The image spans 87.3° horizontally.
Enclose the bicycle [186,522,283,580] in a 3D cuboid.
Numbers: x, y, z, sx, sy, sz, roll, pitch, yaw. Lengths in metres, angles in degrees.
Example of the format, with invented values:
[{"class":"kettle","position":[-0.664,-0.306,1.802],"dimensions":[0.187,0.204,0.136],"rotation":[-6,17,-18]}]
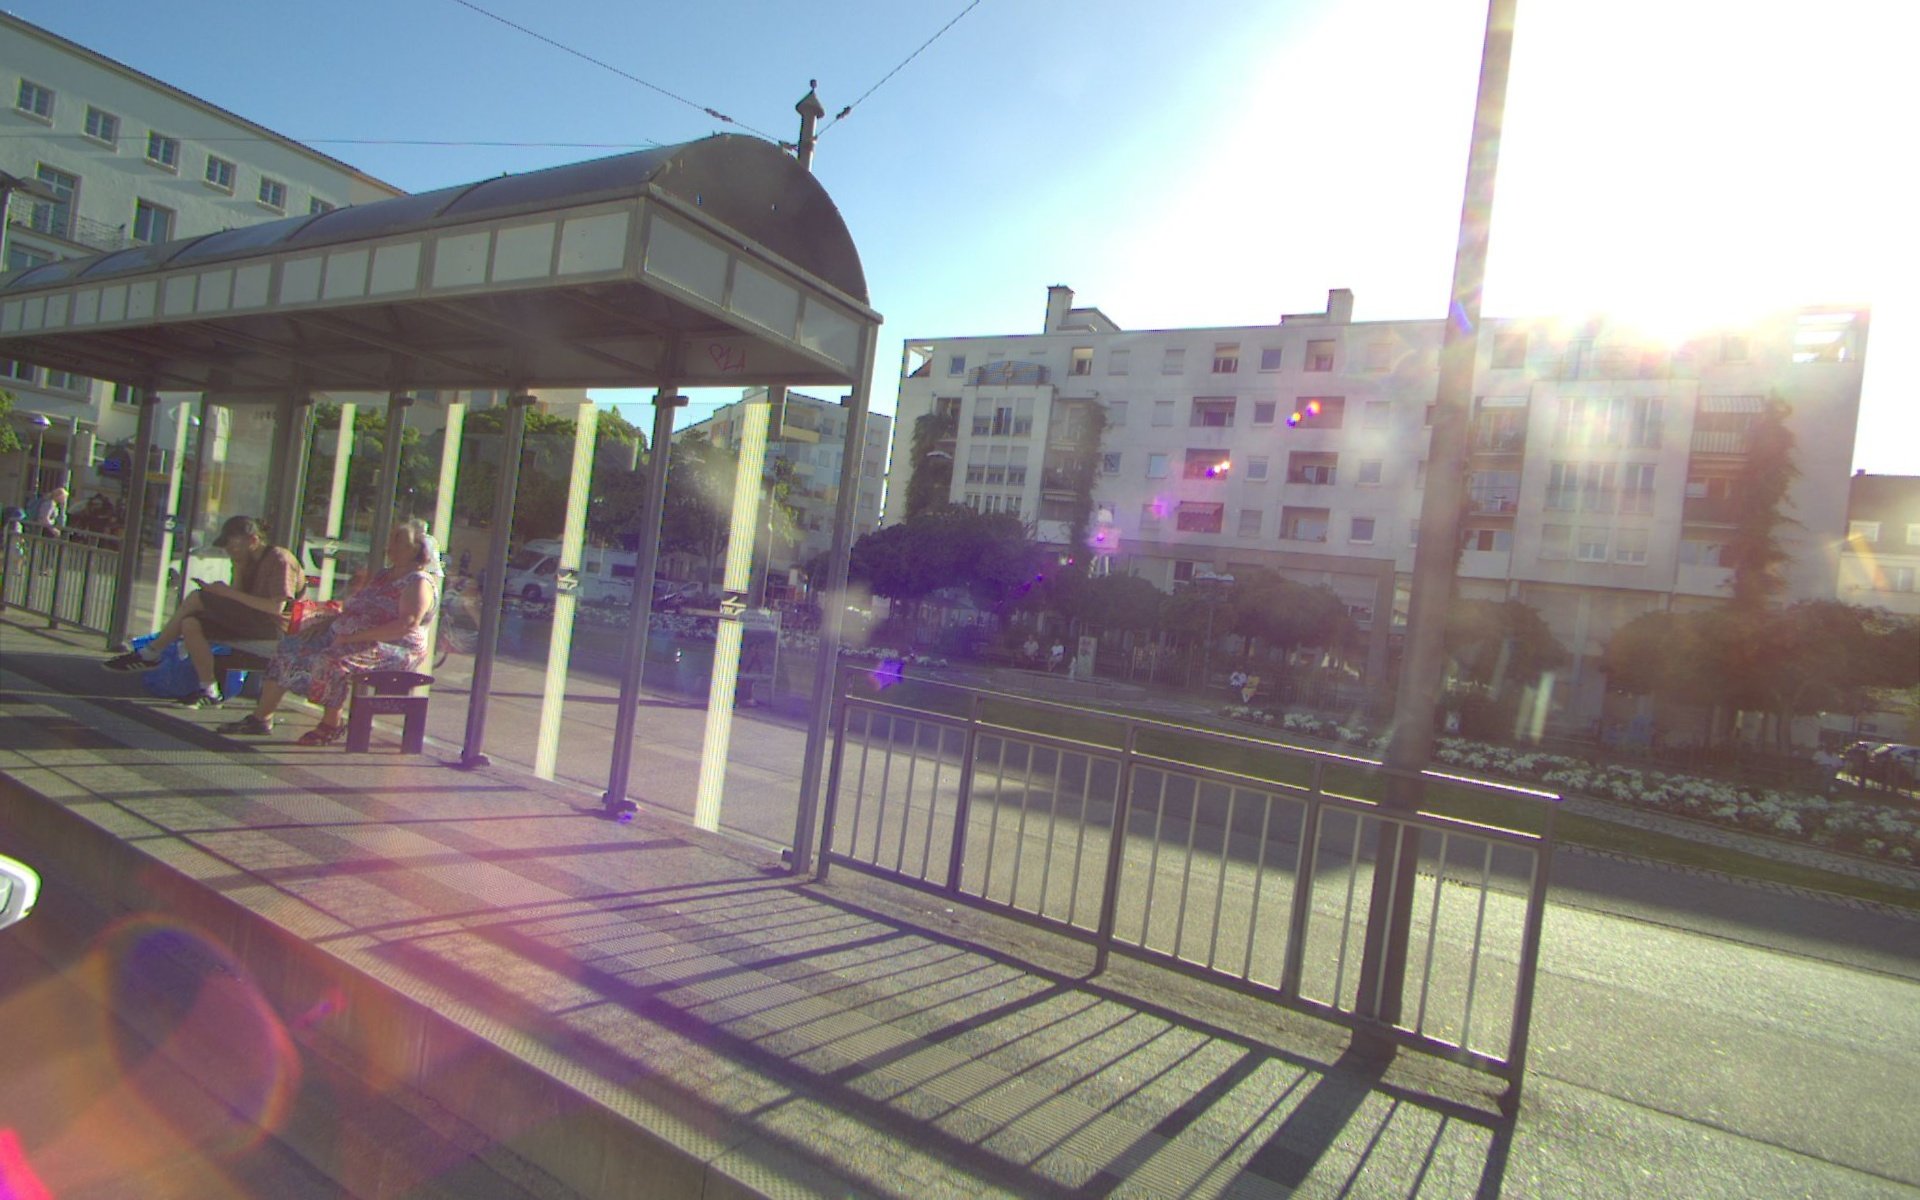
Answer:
[{"class":"bicycle","position":[-24.383,-1.629,33.873],"dimensions":[0.714,1.548,2.391],"rotation":[7,-3,31]}]

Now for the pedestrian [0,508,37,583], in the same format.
[{"class":"pedestrian","position":[-16.783,-0.966,17.763],"dimensions":[0.520,1.239,0.557],"rotation":[6,-2,42]}]

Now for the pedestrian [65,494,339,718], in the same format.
[{"class":"pedestrian","position":[-4.866,0.055,6.494],"dimensions":[0.908,1.238,1.001],"rotation":[6,-4,32]}]

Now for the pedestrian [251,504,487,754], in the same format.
[{"class":"pedestrian","position":[-3.519,0.196,6.038],"dimensions":[0.613,1.348,0.861],"rotation":[6,-4,32]}]

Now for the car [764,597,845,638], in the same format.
[{"class":"car","position":[-7.444,0.867,48.529],"dimensions":[1.964,1.503,4.000],"rotation":[7,-1,23]}]

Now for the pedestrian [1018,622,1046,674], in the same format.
[{"class":"pedestrian","position":[2.553,1.692,35.499],"dimensions":[0.661,1.745,1.028],"rotation":[7,0,11]}]

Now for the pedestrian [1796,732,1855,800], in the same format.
[{"class":"pedestrian","position":[20.888,3.979,24.274],"dimensions":[0.923,1.428,1.521],"rotation":[7,-1,42]}]

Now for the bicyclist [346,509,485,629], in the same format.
[{"class":"bicyclist","position":[-6.532,-0.354,12.114],"dimensions":[0.916,1.239,0.955],"rotation":[8,-2,12]}]

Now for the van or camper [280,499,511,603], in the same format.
[{"class":"van or camper","position":[-21.141,-1.734,38.151],"dimensions":[2.331,2.780,7.133],"rotation":[9,0,32]}]

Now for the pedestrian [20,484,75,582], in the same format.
[{"class":"pedestrian","position":[-17.354,-1.276,19.133],"dimensions":[0.520,1.765,0.557],"rotation":[6,-2,42]}]

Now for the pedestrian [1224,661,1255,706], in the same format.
[{"class":"pedestrian","position":[8.824,2.630,31.781],"dimensions":[0.718,1.287,0.745],"rotation":[7,0,11]}]

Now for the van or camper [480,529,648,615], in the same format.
[{"class":"van or camper","position":[-17.278,-1.153,44.333],"dimensions":[2.340,2.873,6.411],"rotation":[7,-1,35]}]

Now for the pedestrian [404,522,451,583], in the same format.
[{"class":"pedestrian","position":[-16.306,-1.444,30.826],"dimensions":[0.684,1.705,0.902],"rotation":[7,0,36]}]

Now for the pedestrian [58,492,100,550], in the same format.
[{"class":"pedestrian","position":[-30.311,-2.712,34.607],"dimensions":[0.667,1.861,0.785],"rotation":[7,0,35]}]

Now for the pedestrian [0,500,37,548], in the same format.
[{"class":"pedestrian","position":[-28.830,-2.320,30.738],"dimensions":[0.736,1.331,0.622],"rotation":[7,0,-35]}]

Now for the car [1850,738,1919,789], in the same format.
[{"class":"car","position":[35.777,6.215,37.245],"dimensions":[3.941,1.535,1.993],"rotation":[7,-1,38]}]

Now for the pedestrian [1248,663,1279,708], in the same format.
[{"class":"pedestrian","position":[9.525,2.678,31.623],"dimensions":[0.718,1.287,0.745],"rotation":[7,0,11]}]

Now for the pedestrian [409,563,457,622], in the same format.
[{"class":"pedestrian","position":[-15.581,-0.219,29.723],"dimensions":[0.651,1.604,0.902],"rotation":[7,0,35]}]

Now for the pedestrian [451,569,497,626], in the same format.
[{"class":"pedestrian","position":[-14.783,-0.073,30.592],"dimensions":[0.651,1.604,0.902],"rotation":[7,0,35]}]

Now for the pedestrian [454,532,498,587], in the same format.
[{"class":"pedestrian","position":[-15.330,-1.282,31.851],"dimensions":[0.651,1.604,0.902],"rotation":[7,0,35]}]

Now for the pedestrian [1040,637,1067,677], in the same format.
[{"class":"pedestrian","position":[3.285,1.999,35.345],"dimensions":[0.718,1.287,1.042],"rotation":[7,0,11]}]

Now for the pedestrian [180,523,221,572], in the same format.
[{"class":"pedestrian","position":[-24.966,-1.727,33.067],"dimensions":[0.742,1.427,0.731],"rotation":[11,2,32]}]

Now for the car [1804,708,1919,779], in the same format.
[{"class":"car","position":[42.917,6.689,45.713],"dimensions":[6.286,2.585,2.812],"rotation":[7,-1,28]}]

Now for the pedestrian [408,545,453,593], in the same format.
[{"class":"pedestrian","position":[-15.915,-0.919,30.224],"dimensions":[0.596,1.295,0.901],"rotation":[7,-1,38]}]

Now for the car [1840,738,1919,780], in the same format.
[{"class":"car","position":[39.032,6.671,41.454],"dimensions":[3.941,1.303,1.993],"rotation":[7,-1,38]}]

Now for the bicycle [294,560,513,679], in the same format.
[{"class":"bicycle","position":[-6.674,0.238,12.096],"dimensions":[2.279,1.073,0.722],"rotation":[8,-2,13]}]

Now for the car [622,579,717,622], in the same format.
[{"class":"car","position":[-14.457,0.050,50.128],"dimensions":[1.974,1.528,3.982],"rotation":[6,-3,43]}]

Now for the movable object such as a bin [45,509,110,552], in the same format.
[{"class":"movable object such as a bin","position":[-28.857,-2.280,32.901],"dimensions":[1.197,1.167,1.200],"rotation":[7,-1,32]}]
